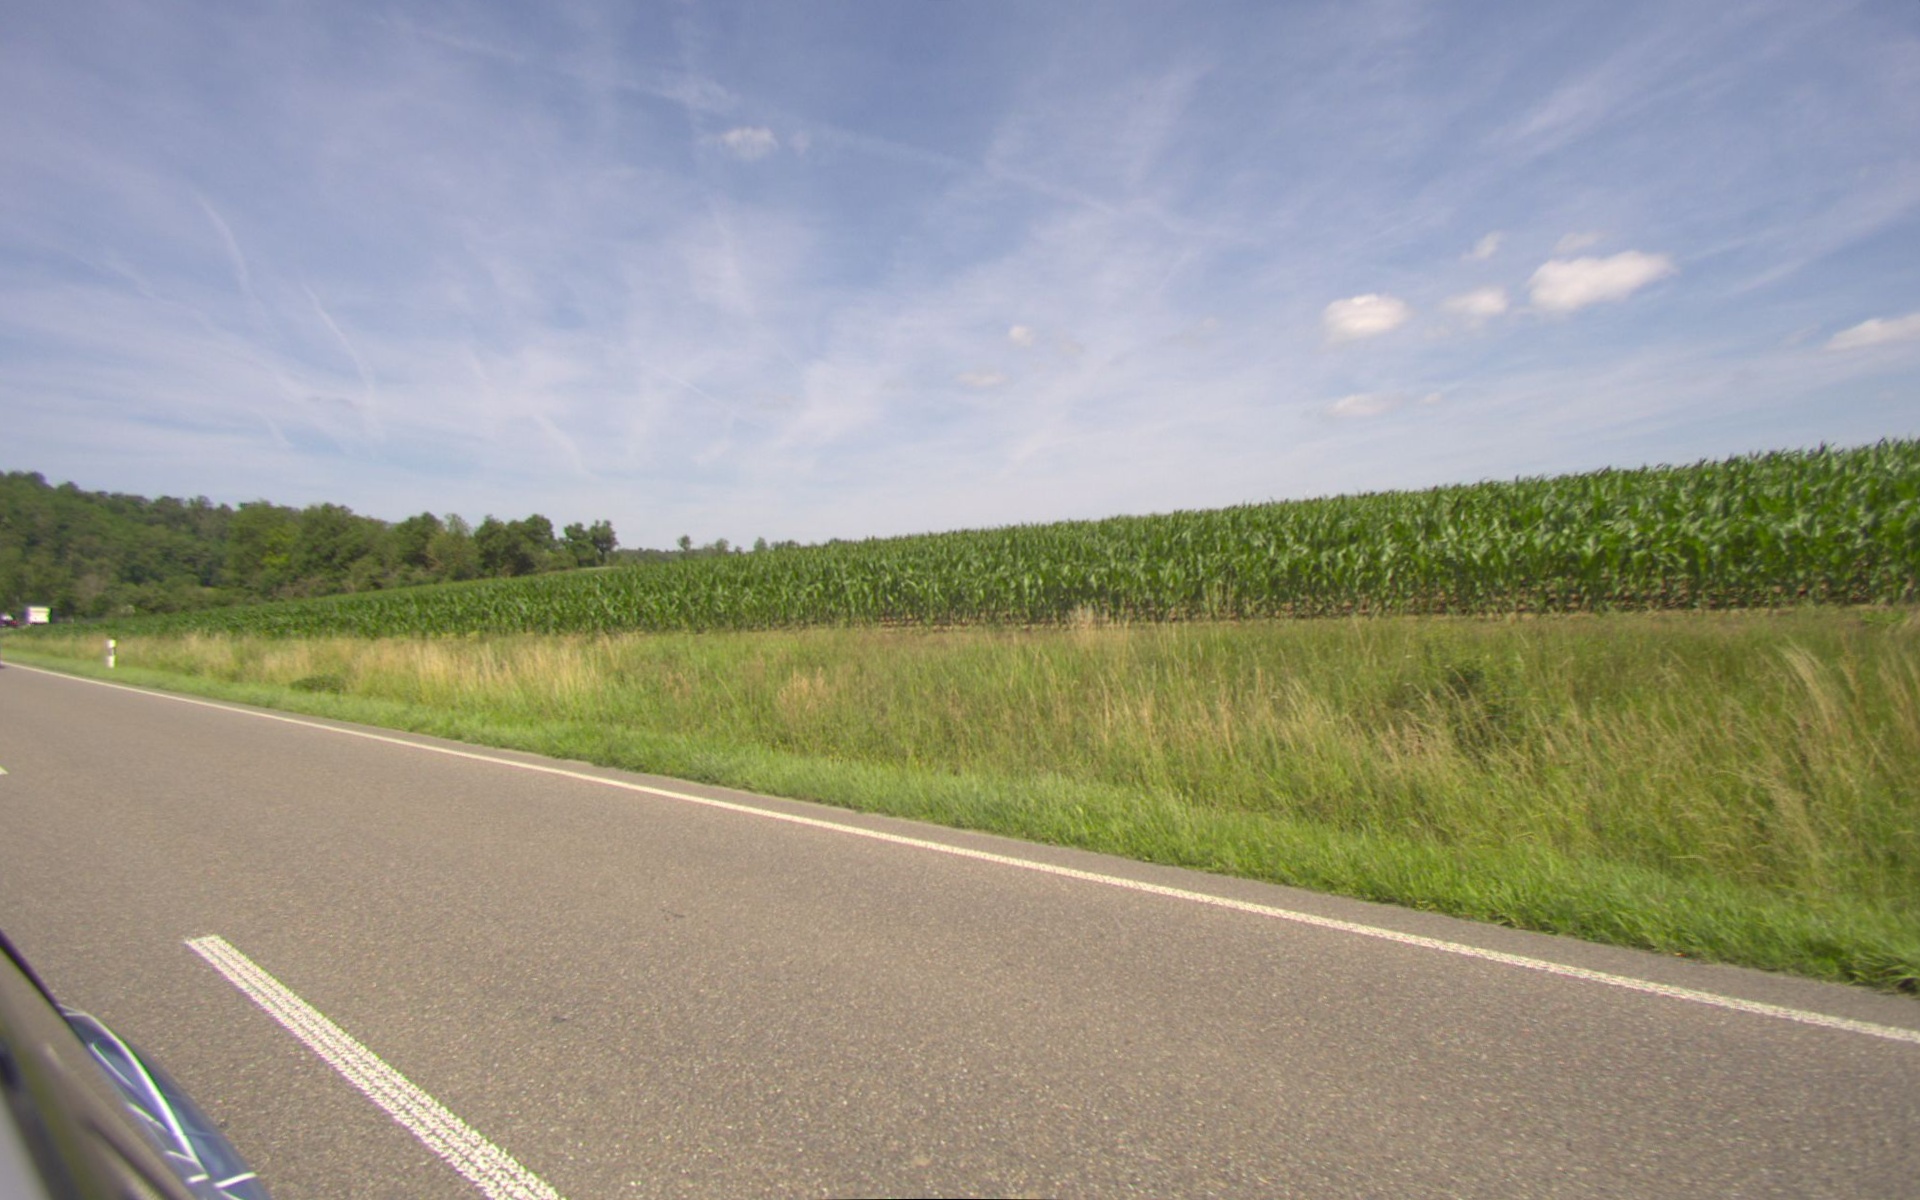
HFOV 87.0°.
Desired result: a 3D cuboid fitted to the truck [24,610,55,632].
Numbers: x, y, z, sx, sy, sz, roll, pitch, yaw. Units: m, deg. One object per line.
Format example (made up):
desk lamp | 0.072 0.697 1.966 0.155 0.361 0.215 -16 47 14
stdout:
truck | -156.628 3.590 172.322 2.705 3.606 9.750 1 -1 -35
